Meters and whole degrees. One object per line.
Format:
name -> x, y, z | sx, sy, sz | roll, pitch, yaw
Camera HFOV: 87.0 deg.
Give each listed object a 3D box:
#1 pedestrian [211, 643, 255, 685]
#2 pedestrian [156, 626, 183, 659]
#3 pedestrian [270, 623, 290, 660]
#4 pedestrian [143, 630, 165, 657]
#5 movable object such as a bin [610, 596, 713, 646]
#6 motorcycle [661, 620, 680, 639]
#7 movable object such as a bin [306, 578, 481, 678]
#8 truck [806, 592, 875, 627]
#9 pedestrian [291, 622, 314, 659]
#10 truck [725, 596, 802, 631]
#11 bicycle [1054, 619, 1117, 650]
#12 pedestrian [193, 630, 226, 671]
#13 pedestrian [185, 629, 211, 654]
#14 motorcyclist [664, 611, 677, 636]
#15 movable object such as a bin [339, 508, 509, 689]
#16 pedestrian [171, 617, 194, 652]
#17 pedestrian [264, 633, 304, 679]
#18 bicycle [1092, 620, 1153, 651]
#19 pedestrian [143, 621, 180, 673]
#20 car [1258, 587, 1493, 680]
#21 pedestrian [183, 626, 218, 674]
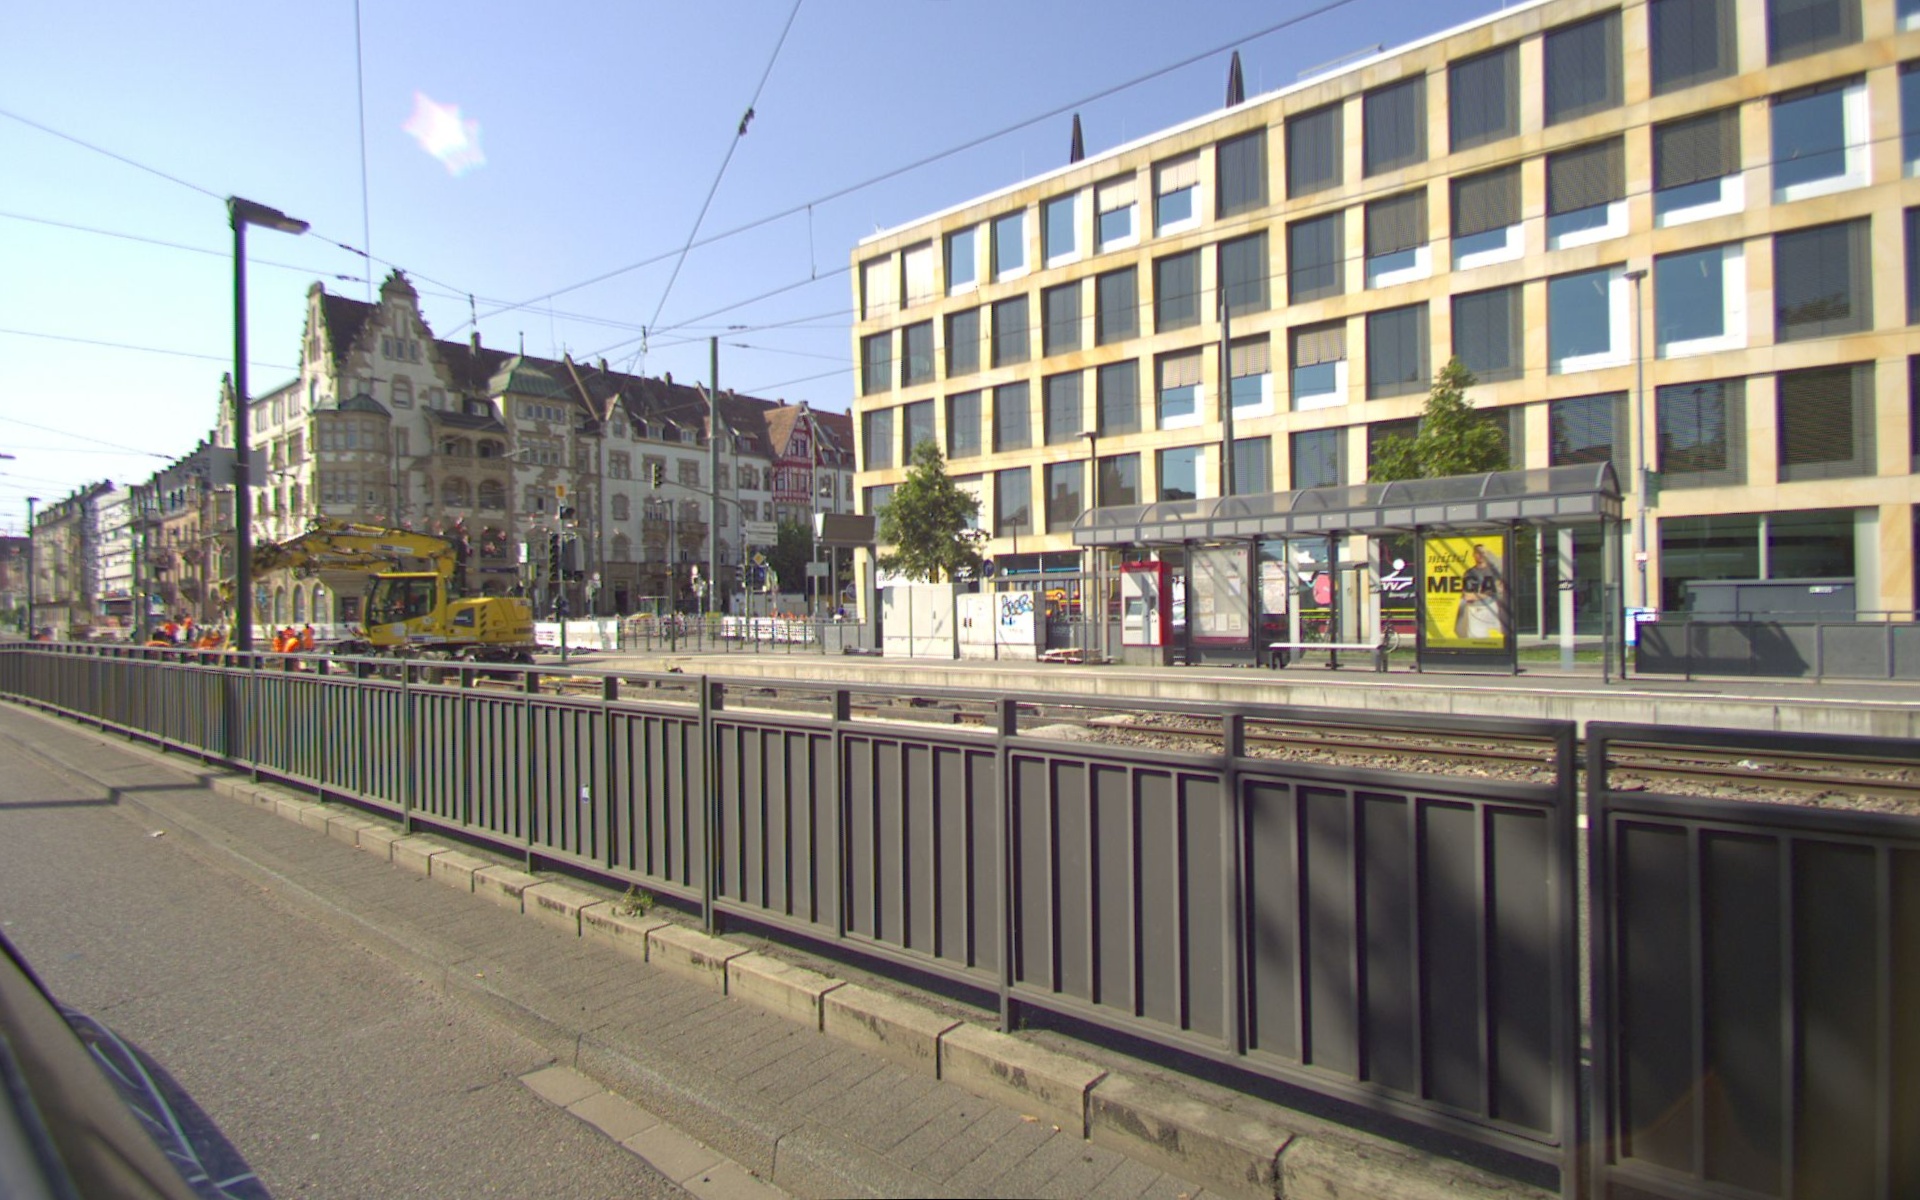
pedestrian -> -17.673, 1.548, 24.592 | 0.881, 0.962, 0.693 | -2, -2, 41
pedestrian -> -38.886, 2.086, 49.797 | 0.727, 1.568, 0.753 | -1, -1, -2
pedestrian -> -31.966, 1.926, 47.589 | 0.729, 1.715, 0.761 | 0, -1, -31
pedestrian -> -37.386, 2.010, 46.942 | 0.547, 1.256, 0.669 | -2, -1, 39
movable object such as a bin -> -17.762, 1.171, 60.504 | 2.489, 2.810, 5.445 | 0, 1, 41
motorcycle -> -14.115, 1.438, 49.345 | 0.425, 0.885, 1.634 | 2, -2, 0
movable object such as a bin -> -19.791, 0.986, 35.500 | 3.547, 3.247, 4.091 | -2, -1, 25
truck -> -10.746, 0.840, 91.615 | 2.627, 3.067, 6.277 | -2, -1, 37
pedestrian -> -31.325, 1.935, 48.241 | 0.758, 1.715, 0.731 | -2, -1, 39
truck -> -16.356, 1.112, 84.484 | 2.688, 2.836, 5.964 | -2, -1, 38
bicycle -> 4.320, 1.175, 34.679 | 1.019, 0.975, 2.407 | -2, -1, 38
pedestrian -> -22.256, 1.483, 30.029 | 0.691, 1.186, 0.704 | 0, -1, -29
pedestrian -> -38.006, 2.065, 50.484 | 0.864, 1.192, 0.723 | 0, -3, 33
motorcyclist -> -14.111, 1.146, 49.326 | 0.425, 1.188, 0.516 | 2, -2, 0
movable object such as a bin -> -14.996, 0.025, 28.239 | 4.211, 4.589, 2.955 | -2, -2, 43
pedestrian -> -37.928, 1.677, 49.369 | 0.678, 1.715, 0.743 | -2, -1, 40
pedestrian -> -17.498, 1.443, 26.214 | 0.691, 1.163, 0.589 | -1, -1, -10
bicycle -> 5.446, 1.178, 33.787 | 0.944, 0.975, 2.407 | -2, -1, 38
pedestrian -> -23.305, 1.353, 29.549 | 0.730, 1.490, 0.705 | 0, -1, -28
car -> 7.761, 0.610, 19.081 | 3.757, 1.583, 1.645 | -2, -1, 41
pedestrian -> -21.827, 1.417, 29.108 | 0.691, 1.345, 0.839 | 0, -1, -29
